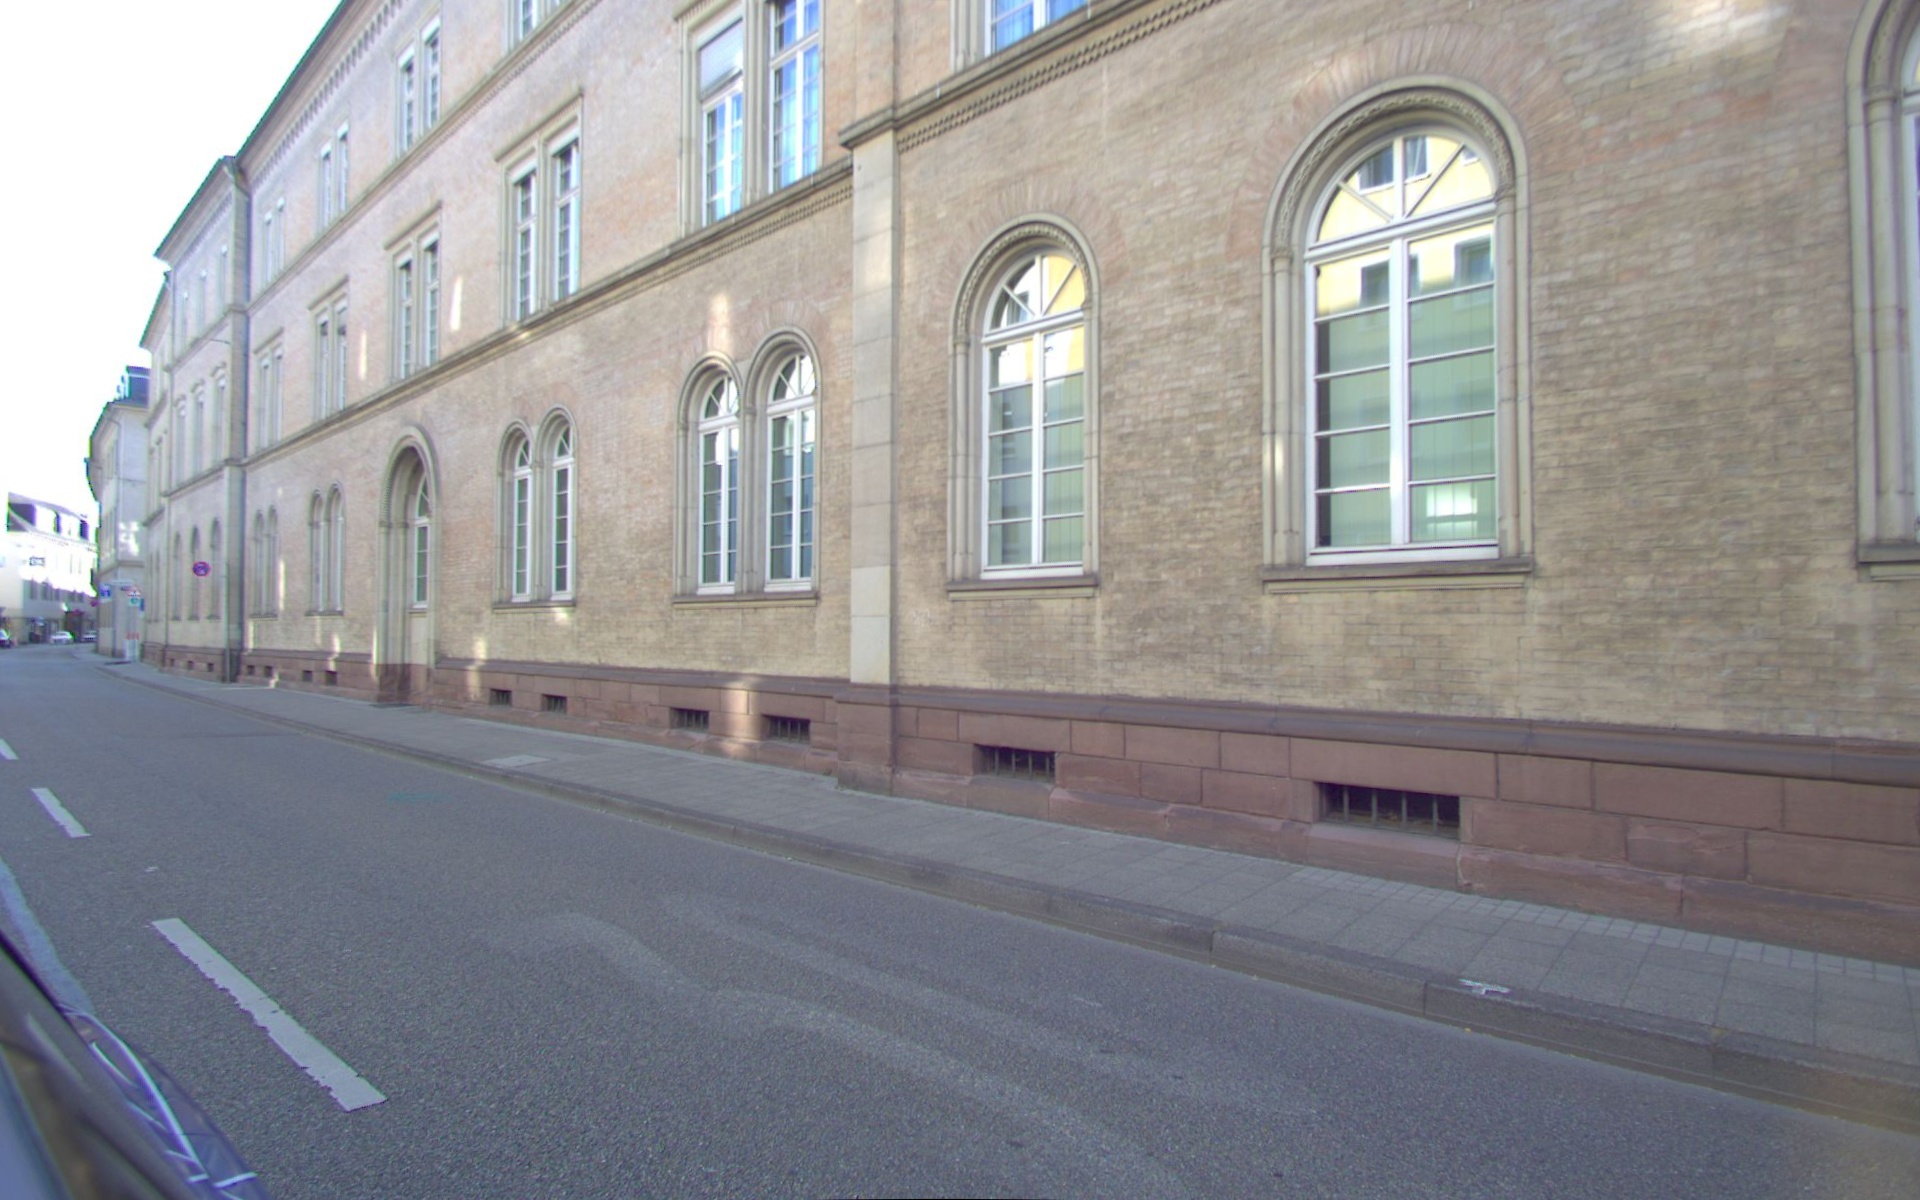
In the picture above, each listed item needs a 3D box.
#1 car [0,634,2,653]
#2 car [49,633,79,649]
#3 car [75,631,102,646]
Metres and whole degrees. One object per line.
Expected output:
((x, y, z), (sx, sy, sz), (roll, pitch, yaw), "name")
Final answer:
((-86.617, 3.900, 89.952), (1.969, 1.665, 4.235), (-1, 0, -41), "car")
((-102.860, 4.691, 116.177), (1.966, 1.665, 4.240), (-1, 0, -33), "car")
((-109.234, 4.769, 126.829), (1.966, 1.665, 4.240), (-1, 0, -33), "car")
